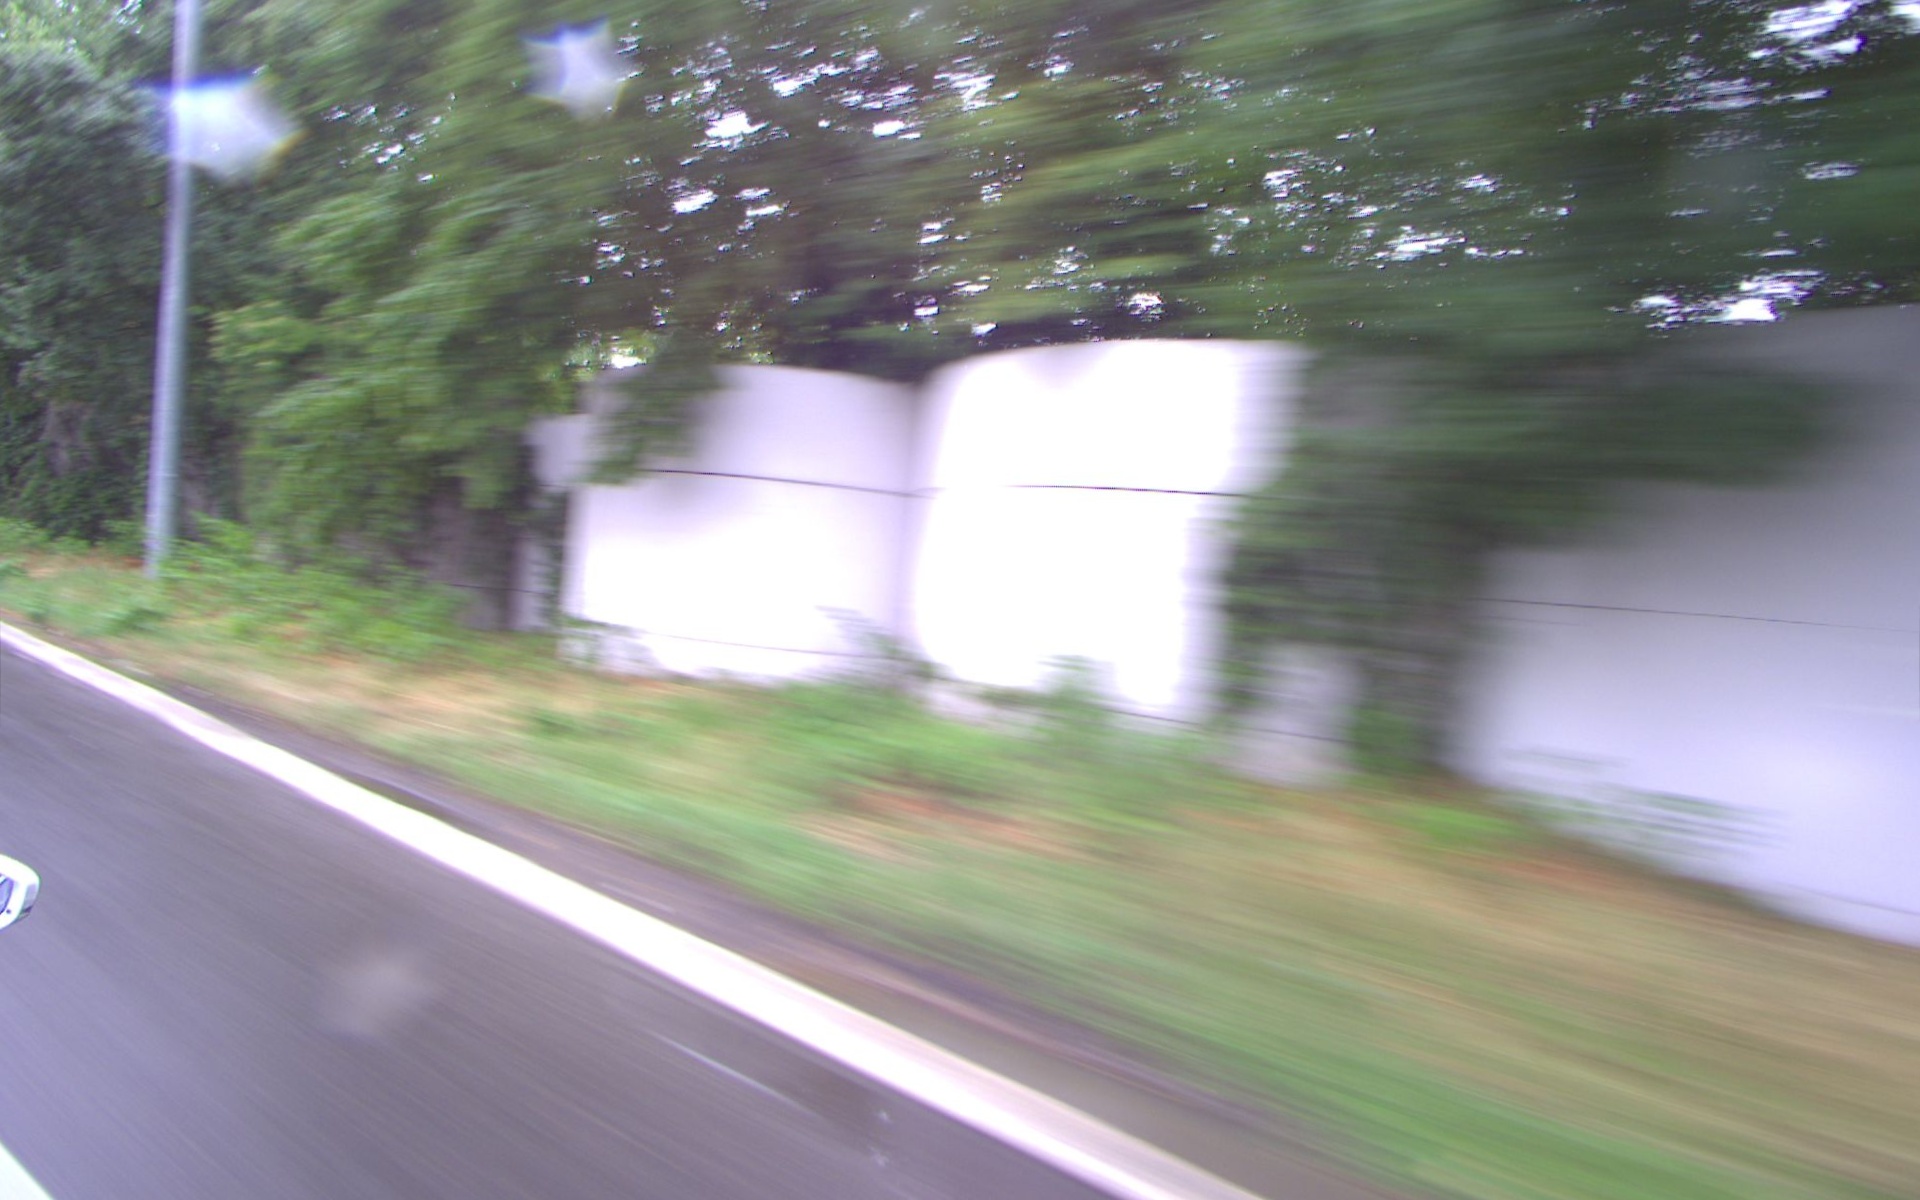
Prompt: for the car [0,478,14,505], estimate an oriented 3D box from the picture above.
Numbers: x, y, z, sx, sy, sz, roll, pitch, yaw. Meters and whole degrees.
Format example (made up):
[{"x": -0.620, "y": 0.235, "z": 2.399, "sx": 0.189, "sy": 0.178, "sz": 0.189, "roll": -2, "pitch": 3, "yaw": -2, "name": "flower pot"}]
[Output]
[{"x": -56.148, "y": -6.350, "z": 56.091, "sx": 1.744, "sy": 1.470, "sz": 4.607, "roll": 6, "pitch": 1, "yaw": 30, "name": "car"}]
